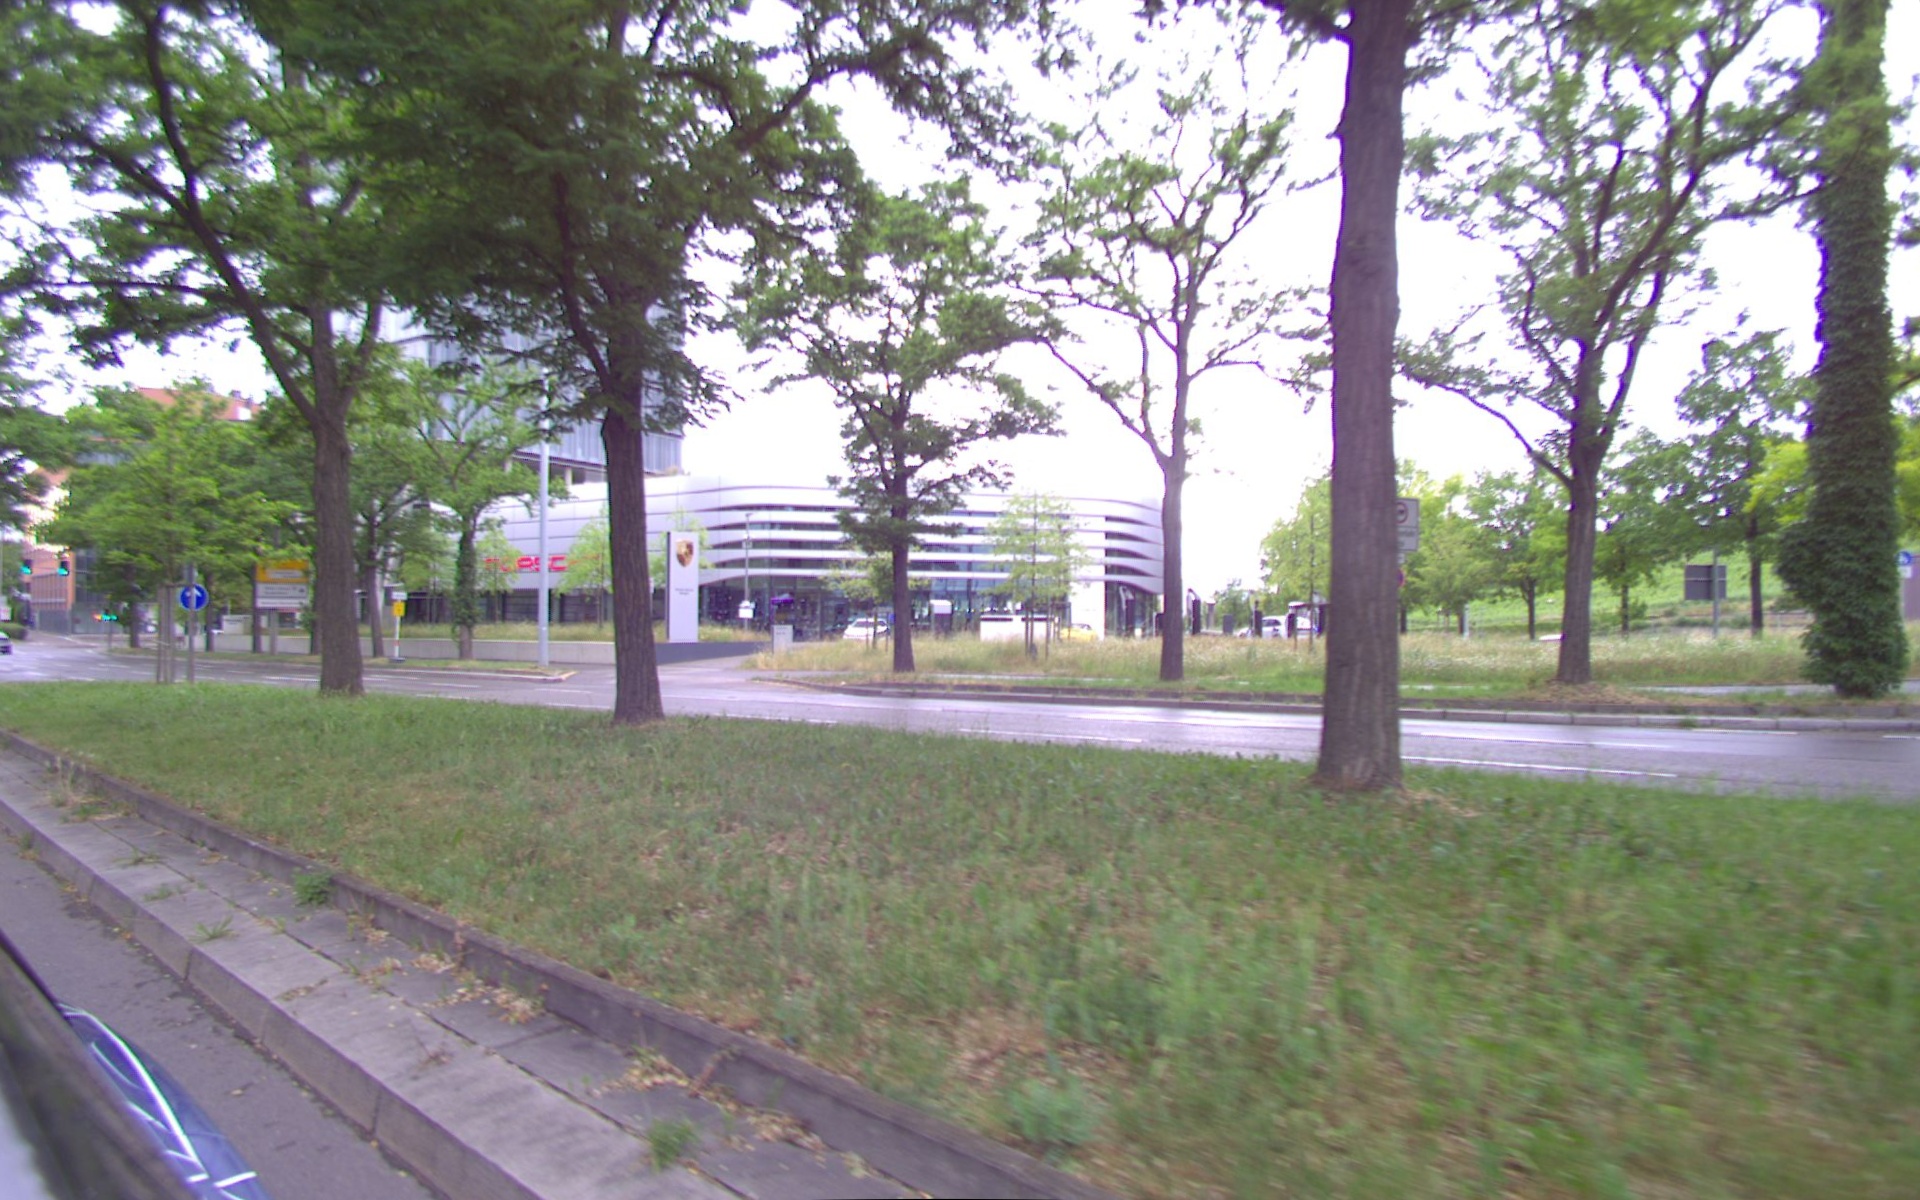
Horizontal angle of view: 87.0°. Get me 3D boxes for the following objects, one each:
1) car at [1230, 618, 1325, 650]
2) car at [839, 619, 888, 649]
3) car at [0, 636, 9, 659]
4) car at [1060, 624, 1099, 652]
[{"bbox_3d":[14.023,1.481,44.870,1.592,1.254,4.012,-2,1,-30],"label":"car"},{"bbox_3d":[-5.167,1.823,54.740,1.757,1.423,3.991,-1,1,7],"label":"car"},{"bbox_3d":[-64.629,3.179,66.975,3.995,1.464,1.871,-1,1,38],"label":"car"},{"bbox_3d":[6.800,2.147,57.397,1.605,1.334,3.981,-1,1,15],"label":"car"}]
